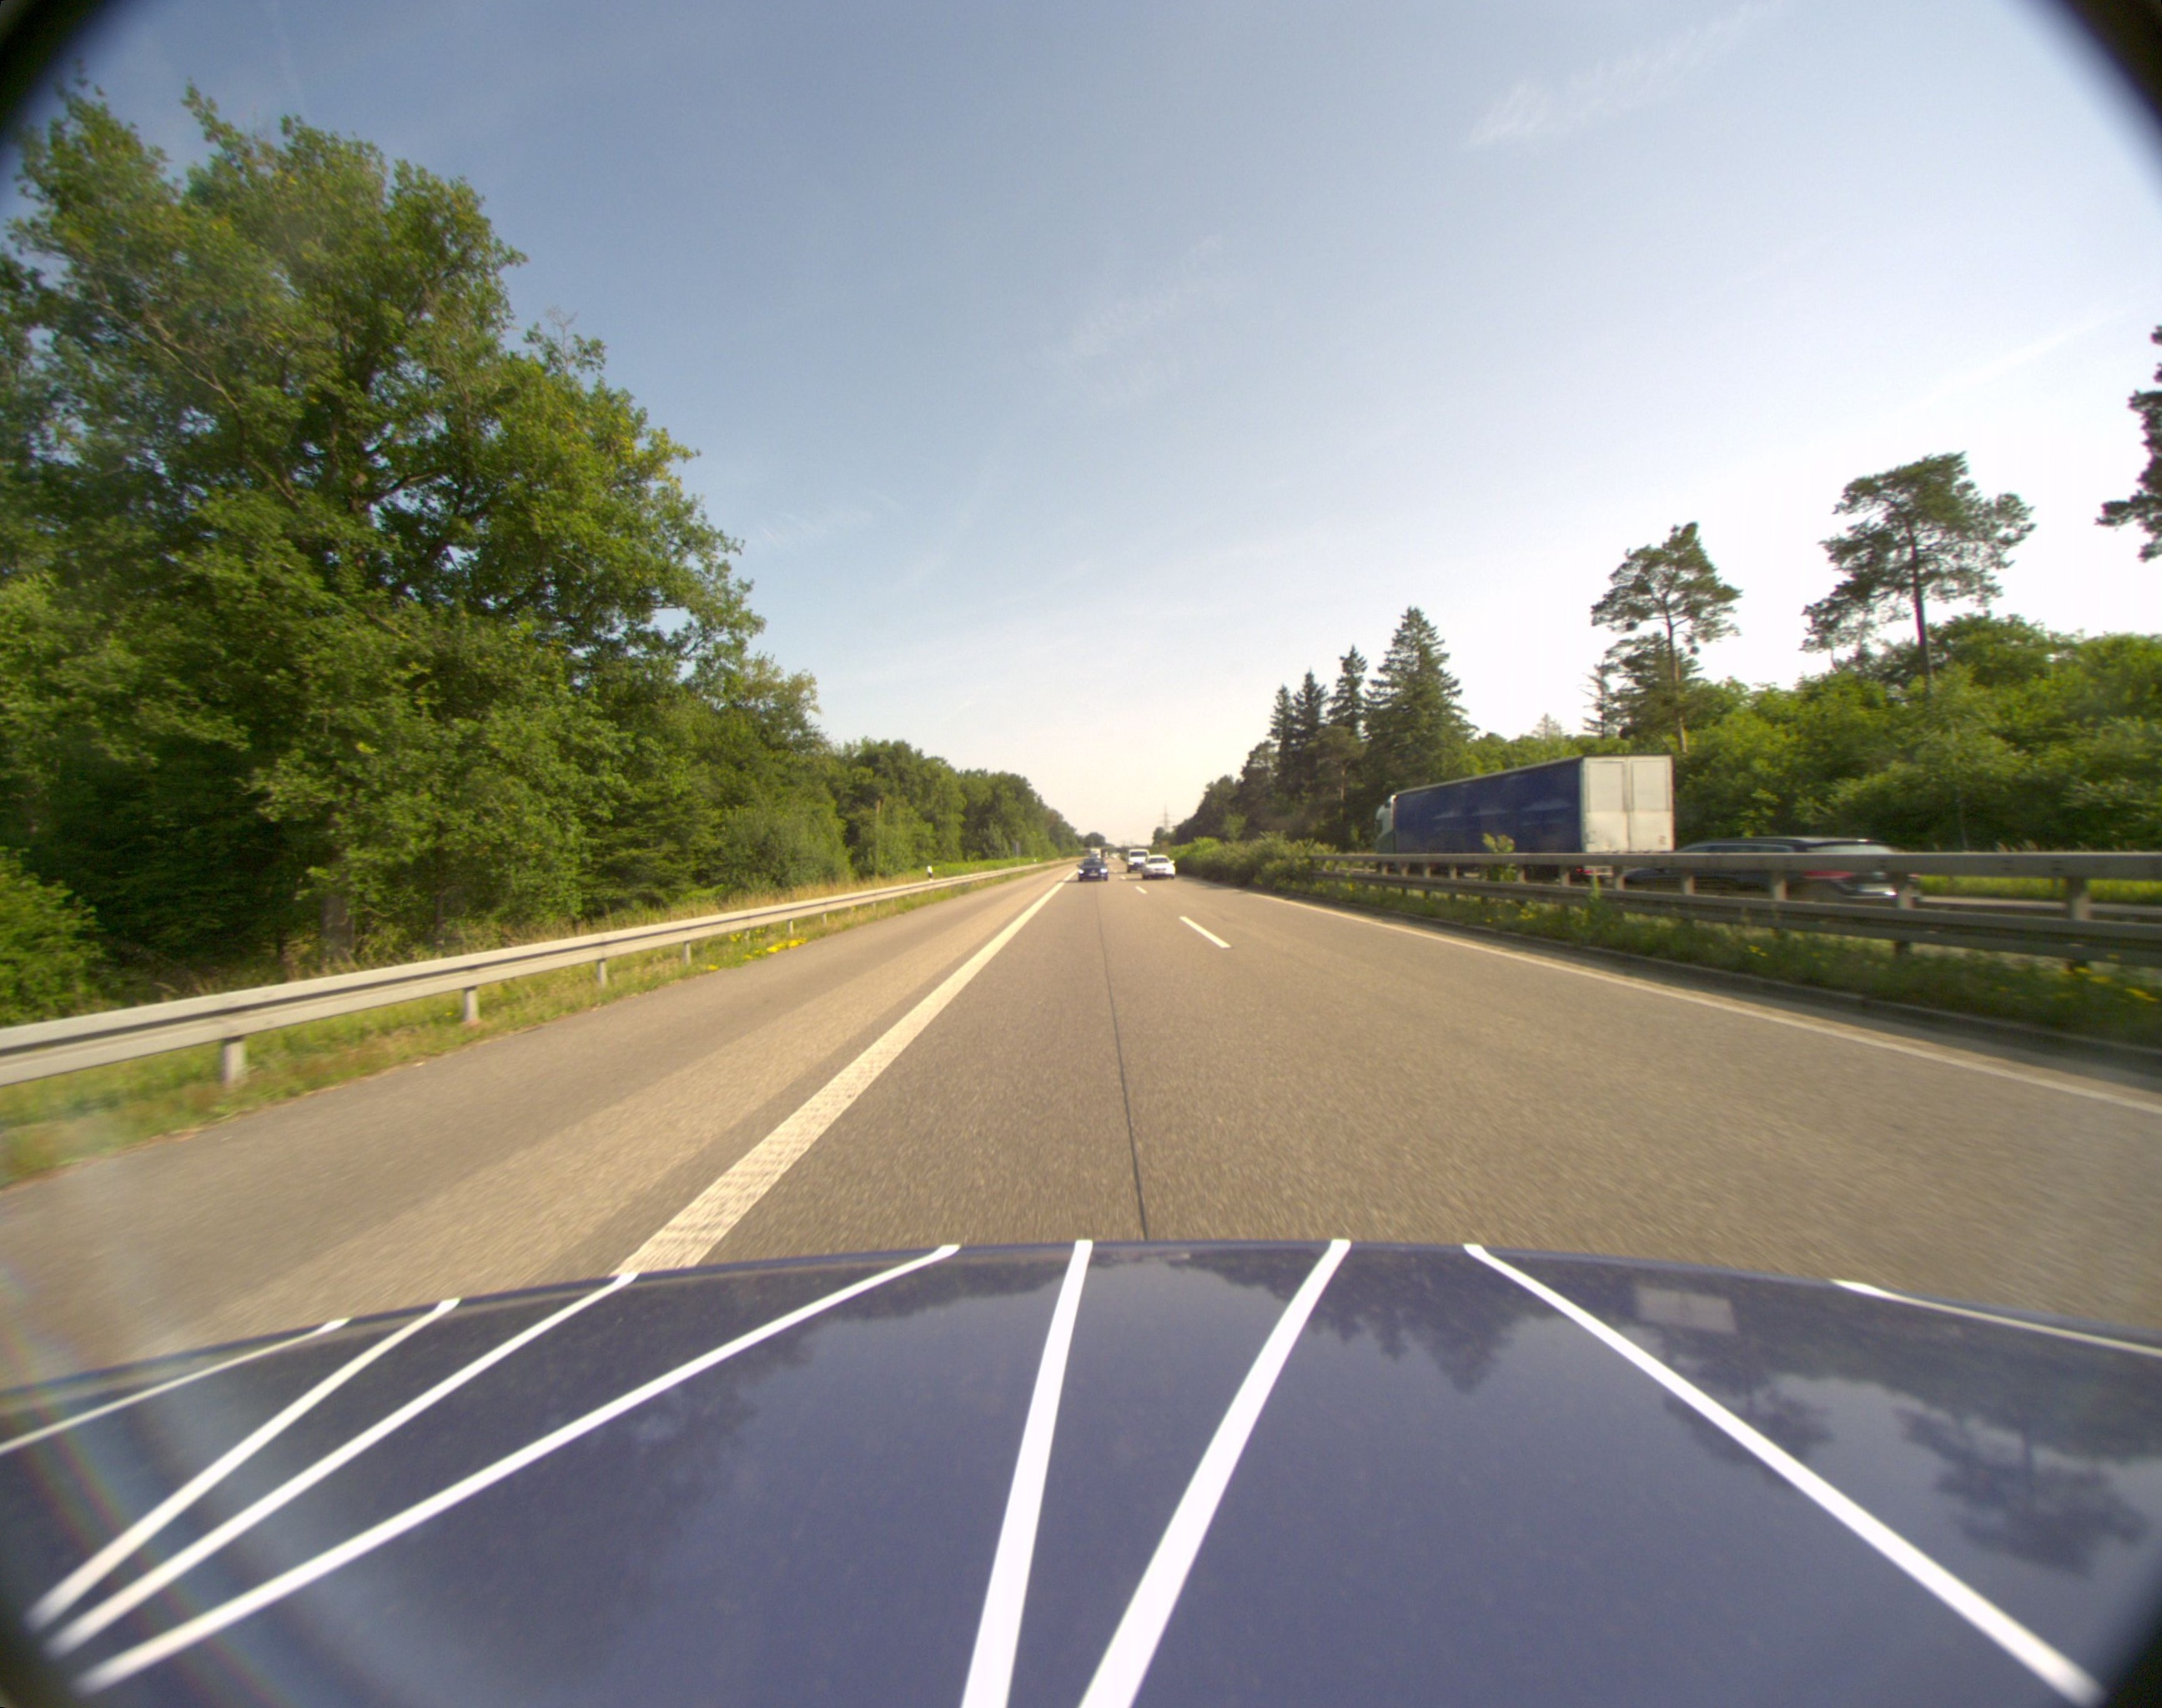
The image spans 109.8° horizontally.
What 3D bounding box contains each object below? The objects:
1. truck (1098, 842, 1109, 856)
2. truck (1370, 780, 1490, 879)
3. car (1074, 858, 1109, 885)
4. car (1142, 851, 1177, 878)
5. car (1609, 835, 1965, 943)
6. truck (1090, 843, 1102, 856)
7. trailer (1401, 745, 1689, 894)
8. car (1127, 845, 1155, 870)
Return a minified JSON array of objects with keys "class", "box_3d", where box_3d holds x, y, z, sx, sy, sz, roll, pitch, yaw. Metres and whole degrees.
[{"class":"truck","box_3d":[6.977,-1.639,237.236,2.695,4.062,12.364,-2,0,0]},{"class":"truck","box_3d":[15.933,-1.045,35.224,2.716,4.176,6.293,-1,0,0]},{"class":"car","box_3d":[0.575,0.919,40.731,1.789,1.285,3.538,-2,0,1]},{"class":"car","box_3d":[4.714,0.606,46.414,1.754,1.477,5.264,-2,0,2]},{"class":"car","box_3d":[11.448,0.483,12.888,1.708,1.441,4.581,-2,0,-1]},{"class":"truck","box_3d":[3.652,-1.066,182.558,2.695,3.020,10.371,-2,0,0]},{"class":"trailer","box_3d":[15.876,-0.999,28.030,2.698,4.176,13.079,-1,0,0]},{"class":"car","box_3d":[4.994,0.257,64.074,1.912,1.934,4.705,-2,0,-1]}]
